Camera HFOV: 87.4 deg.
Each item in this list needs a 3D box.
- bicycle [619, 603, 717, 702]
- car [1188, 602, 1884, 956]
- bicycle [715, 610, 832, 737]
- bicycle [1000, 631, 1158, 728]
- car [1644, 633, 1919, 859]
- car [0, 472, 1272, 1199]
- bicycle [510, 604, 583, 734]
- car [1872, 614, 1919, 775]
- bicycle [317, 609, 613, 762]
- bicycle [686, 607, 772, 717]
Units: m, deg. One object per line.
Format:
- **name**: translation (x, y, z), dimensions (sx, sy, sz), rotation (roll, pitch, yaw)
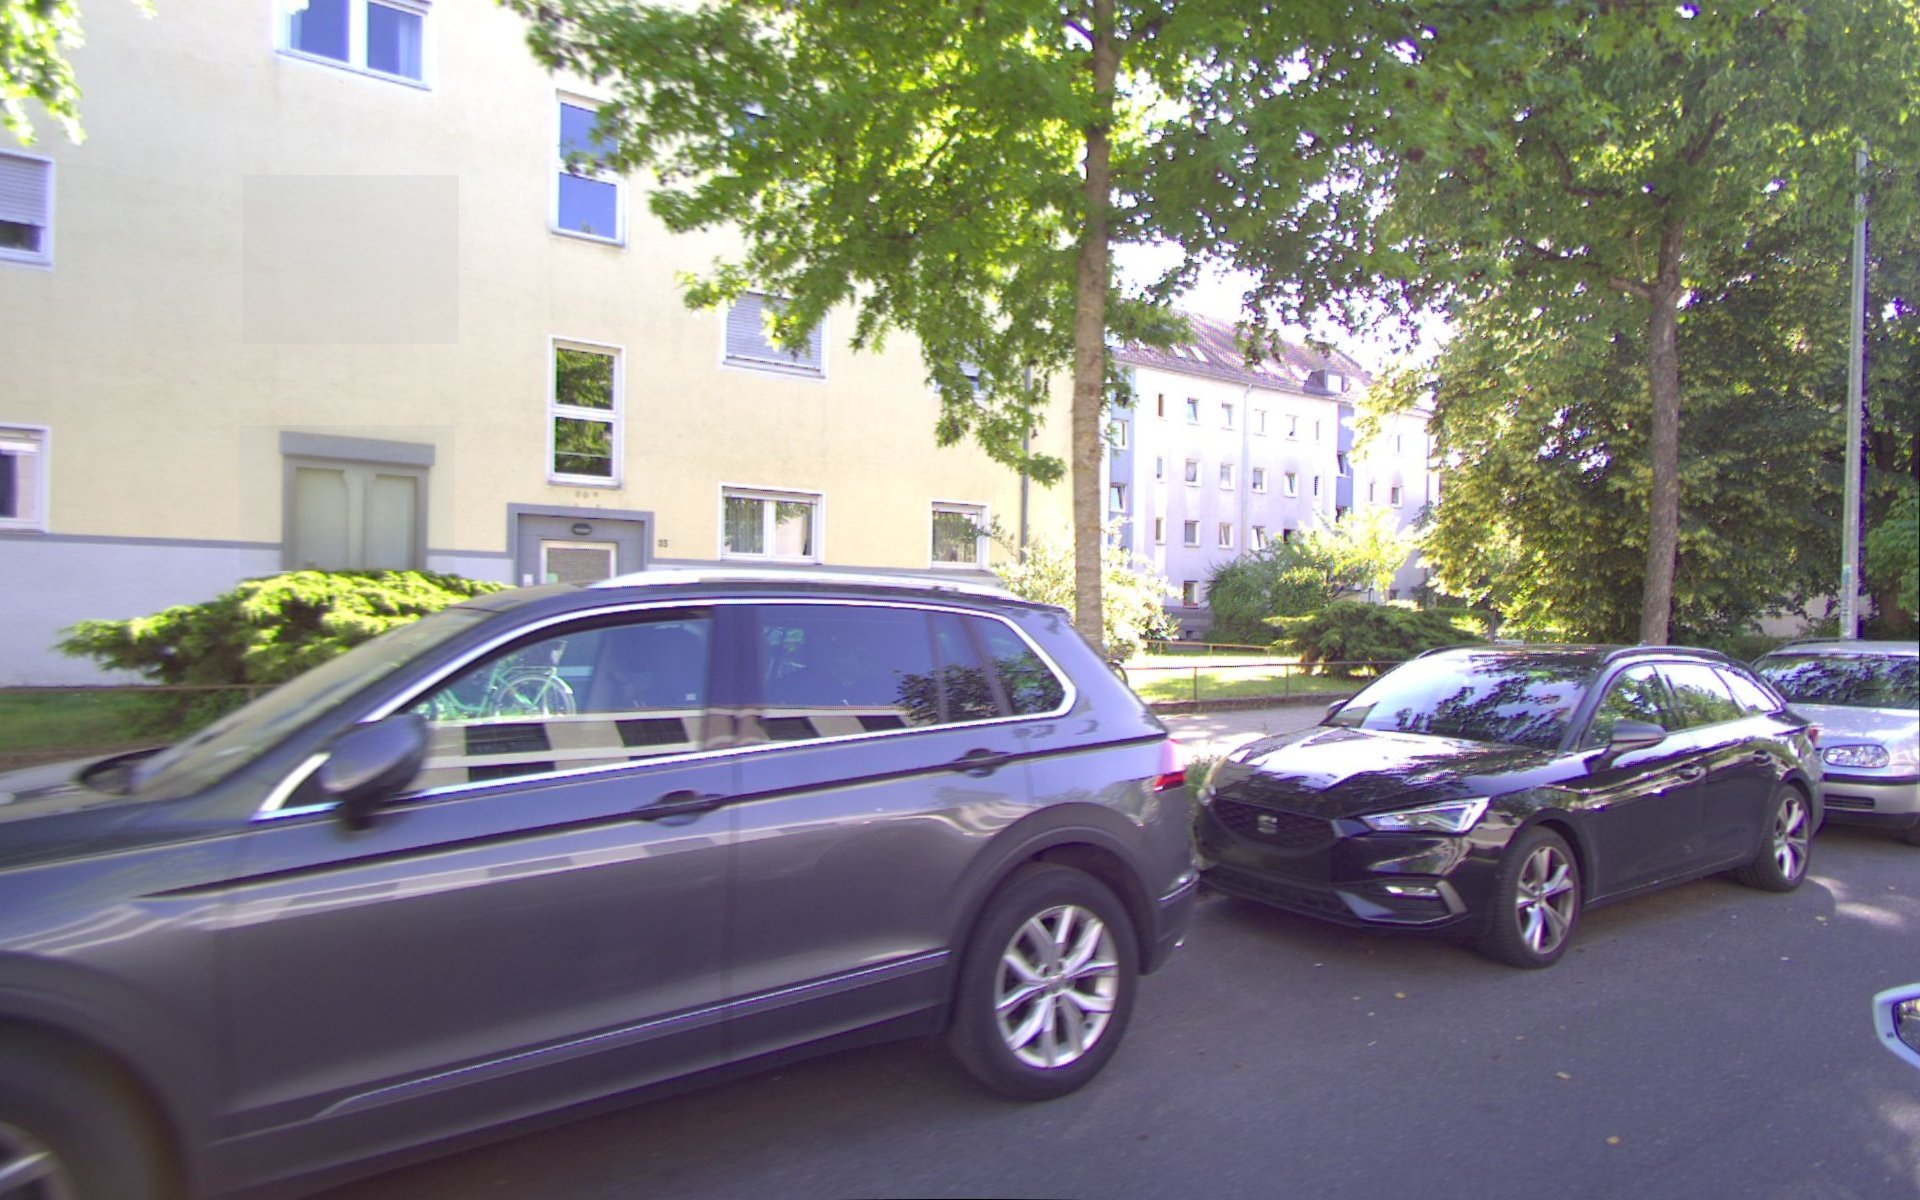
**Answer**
- **bicycle**: translation (-4.059, 0.678, 13.846), dimensions (0.768, 1.242, 1.941), rotation (1, 0, -32)
- **car**: translation (3.644, 0.803, 6.114), dimensions (4.438, 1.471, 1.784), rotation (1, -1, -31)
- **bicycle**: translation (-2.056, 0.750, 10.905), dimensions (0.513, 1.242, 1.621), rotation (1, 0, -39)
- **bicycle**: translation (1.447, 0.926, 12.034), dimensions (1.910, 1.075, 0.569), rotation (2, 0, -30)
- **car**: translation (7.904, 1.052, 8.658), dimensions (4.440, 1.500, 1.697), rotation (1, -1, -32)
- **car**: translation (-1.188, 0.663, 3.213), dimensions (4.479, 1.708, 1.783), rotation (1, -1, -34)
- **bicycle**: translation (-4.408, 0.678, 10.648), dimensions (0.511, 1.242, 1.813), rotation (1, 0, -28)
- **car**: translation (12.422, 1.032, 11.317), dimensions (5.029, 1.678, 1.833), rotation (1, -1, -31)
- **bicycle**: translation (-4.240, 0.699, 8.733), dimensions (2.236, 1.205, 0.591), rotation (1, -1, -32)
- **bicycle**: translation (-2.882, 0.729, 12.436), dimensions (0.583, 1.242, 1.627), rotation (1, 0, -29)
